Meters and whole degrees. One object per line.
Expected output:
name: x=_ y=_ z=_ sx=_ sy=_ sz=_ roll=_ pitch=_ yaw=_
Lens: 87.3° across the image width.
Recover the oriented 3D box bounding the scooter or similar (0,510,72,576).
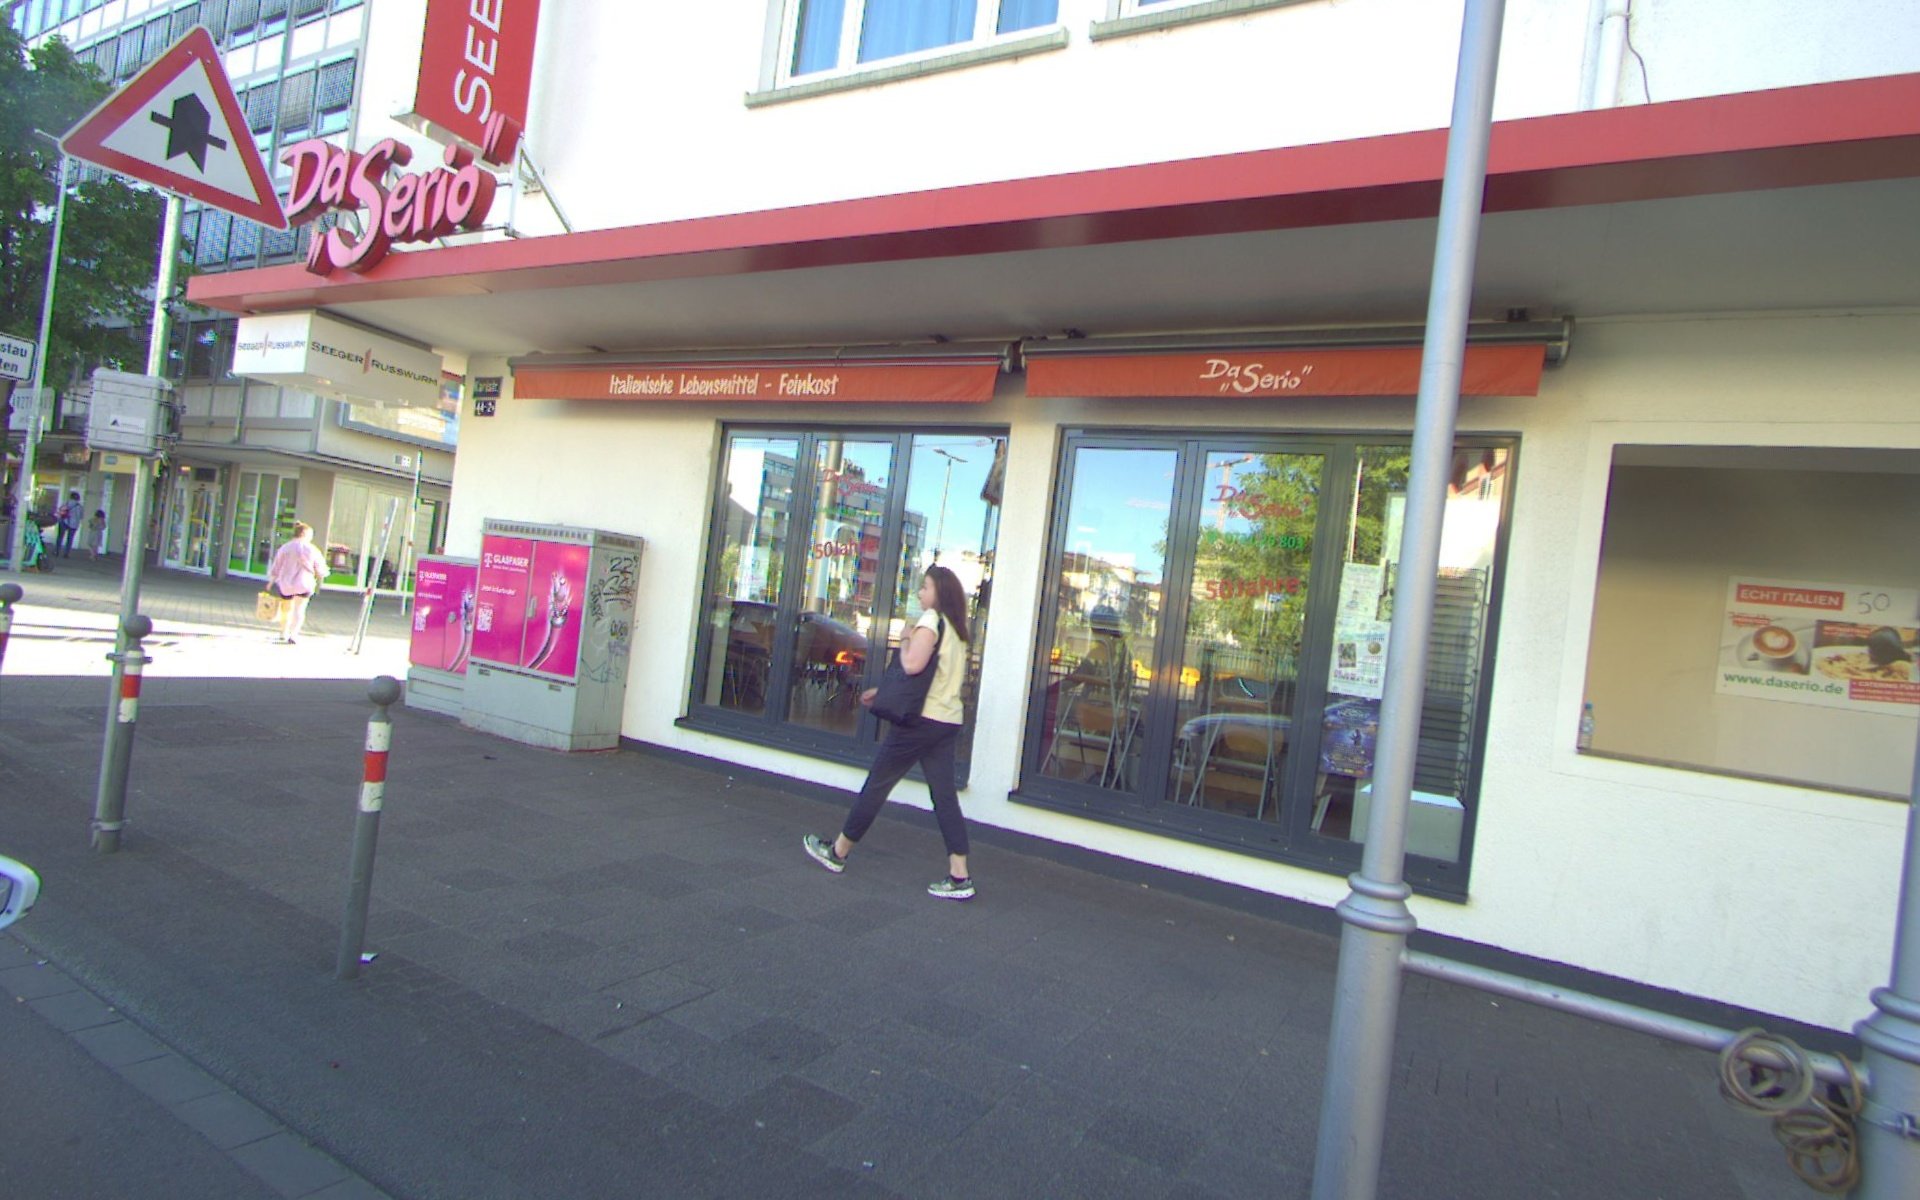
scooter or similar: x=-19.932 y=-1.232 z=21.173 sx=1.628 sy=1.229 sz=0.640 roll=8 pitch=-1 yaw=-29

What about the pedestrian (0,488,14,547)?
pedestrian: x=-29.110 y=-2.508 z=30.418 sx=0.397 sy=1.730 sz=0.526 roll=6 pitch=-1 yaw=37

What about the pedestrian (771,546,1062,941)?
pedestrian: x=-0.208 y=0.695 z=5.345 sx=1.021 sy=1.773 sz=0.916 roll=7 pitch=0 yaw=29

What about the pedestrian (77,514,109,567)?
pedestrian: x=-23.291 y=-1.591 z=27.027 sx=0.504 sy=1.359 sz=0.390 roll=6 pitch=-1 yaw=34

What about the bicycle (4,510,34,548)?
bicycle: x=-28.550 y=-2.157 z=30.521 sx=1.237 sy=1.046 sz=0.332 roll=6 pitch=-1 yaw=36

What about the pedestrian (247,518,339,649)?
pedestrian: x=-9.361 y=-0.228 z=14.133 sx=0.884 sy=1.687 sz=0.801 roll=8 pitch=-1 yaw=-35

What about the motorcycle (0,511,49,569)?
motorcycle: x=-21.561 y=-1.410 z=22.402 sx=0.532 sy=1.186 sz=1.711 roll=7 pitch=-2 yaw=30

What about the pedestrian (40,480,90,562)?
pedestrian: x=-23.676 y=-2.081 z=26.615 sx=0.570 sy=2.037 sz=0.663 roll=6 pitch=-1 yaw=34
